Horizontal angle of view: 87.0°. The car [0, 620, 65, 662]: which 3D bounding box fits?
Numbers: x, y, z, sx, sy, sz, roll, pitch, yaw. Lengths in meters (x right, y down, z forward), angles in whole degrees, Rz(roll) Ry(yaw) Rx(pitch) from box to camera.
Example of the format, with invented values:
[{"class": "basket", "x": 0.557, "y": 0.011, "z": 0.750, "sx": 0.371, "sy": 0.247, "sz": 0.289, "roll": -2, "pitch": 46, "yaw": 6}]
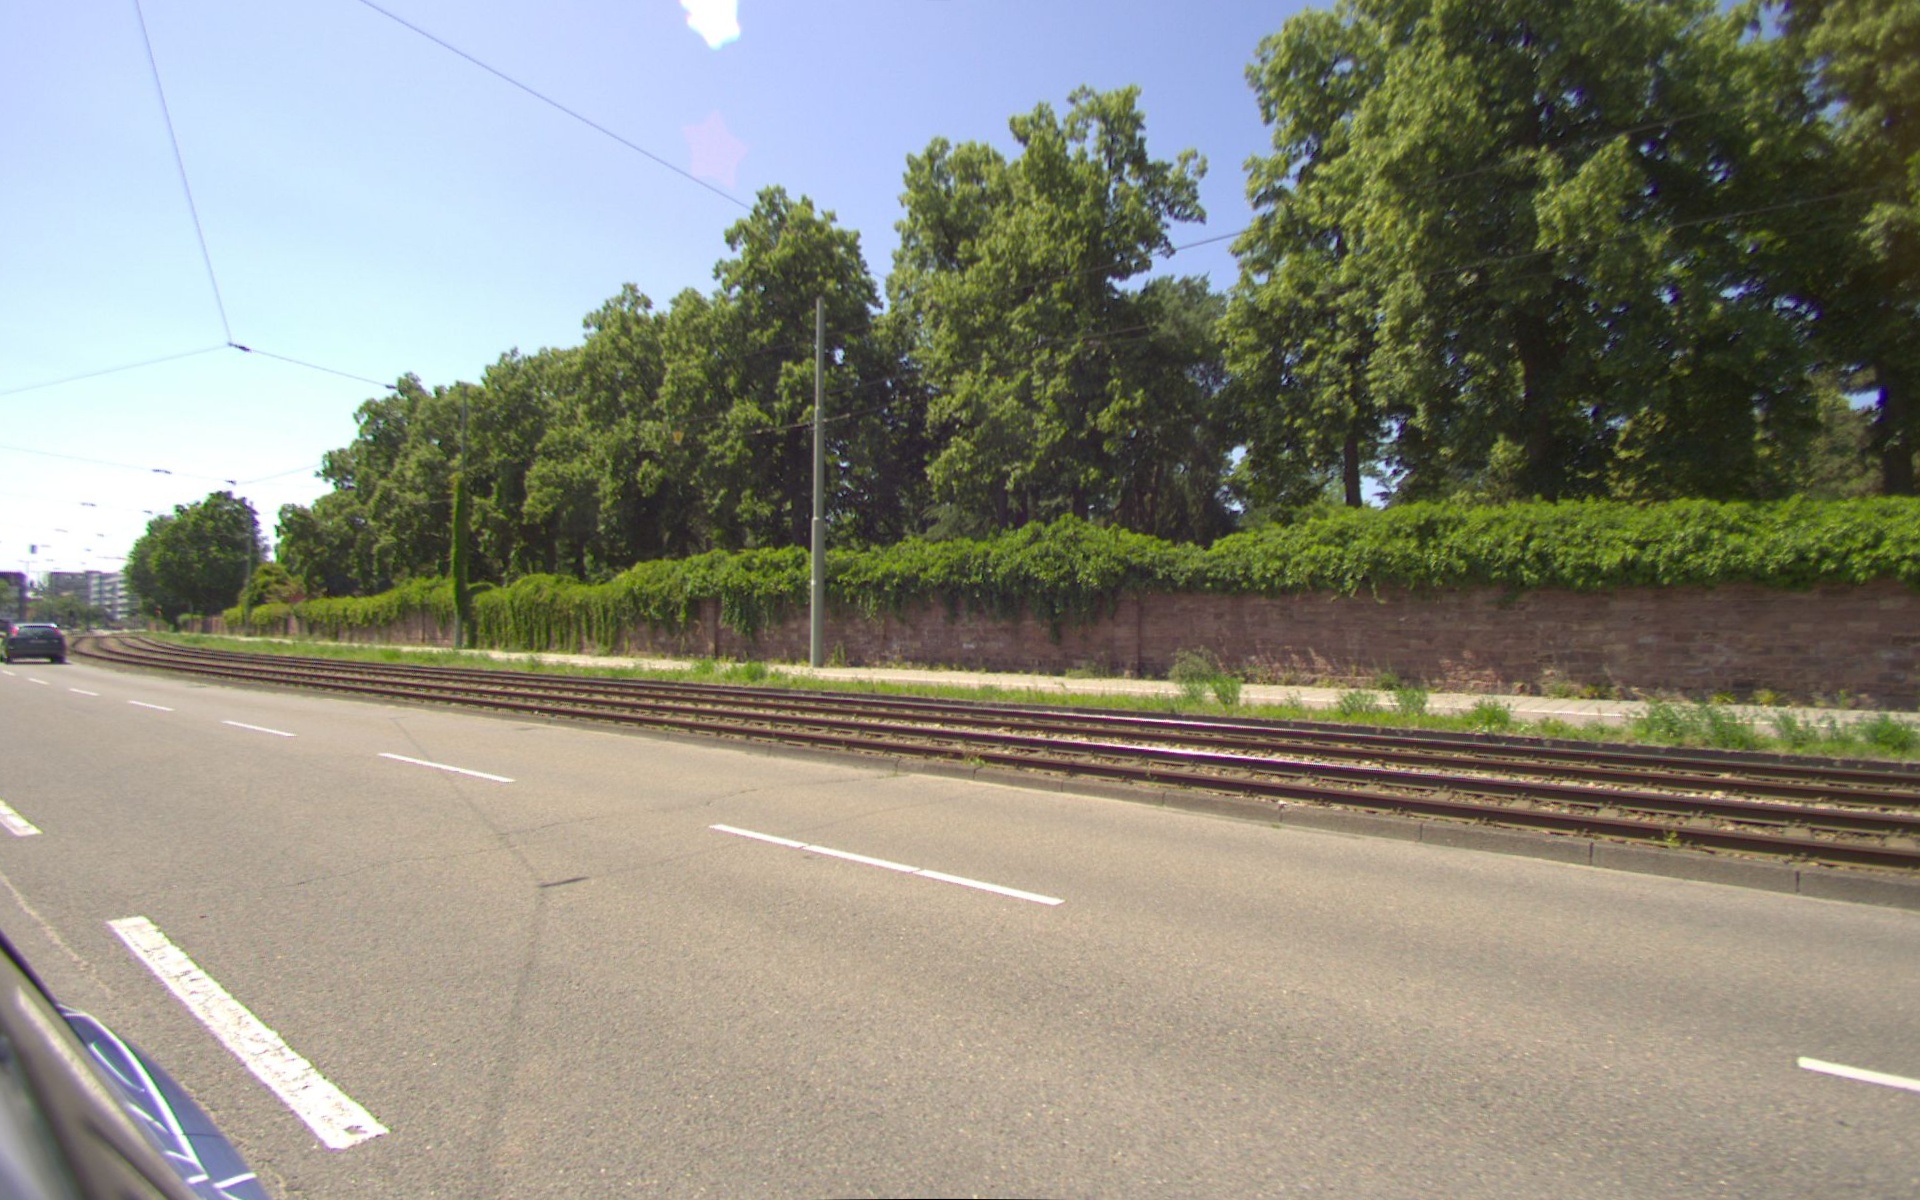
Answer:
[{"class": "car", "x": -34.531, "y": 1.490, "z": 37.444, "sx": 3.999, "sy": 1.480, "sz": 1.674, "roll": -1, "pitch": -1, "yaw": 42}]
